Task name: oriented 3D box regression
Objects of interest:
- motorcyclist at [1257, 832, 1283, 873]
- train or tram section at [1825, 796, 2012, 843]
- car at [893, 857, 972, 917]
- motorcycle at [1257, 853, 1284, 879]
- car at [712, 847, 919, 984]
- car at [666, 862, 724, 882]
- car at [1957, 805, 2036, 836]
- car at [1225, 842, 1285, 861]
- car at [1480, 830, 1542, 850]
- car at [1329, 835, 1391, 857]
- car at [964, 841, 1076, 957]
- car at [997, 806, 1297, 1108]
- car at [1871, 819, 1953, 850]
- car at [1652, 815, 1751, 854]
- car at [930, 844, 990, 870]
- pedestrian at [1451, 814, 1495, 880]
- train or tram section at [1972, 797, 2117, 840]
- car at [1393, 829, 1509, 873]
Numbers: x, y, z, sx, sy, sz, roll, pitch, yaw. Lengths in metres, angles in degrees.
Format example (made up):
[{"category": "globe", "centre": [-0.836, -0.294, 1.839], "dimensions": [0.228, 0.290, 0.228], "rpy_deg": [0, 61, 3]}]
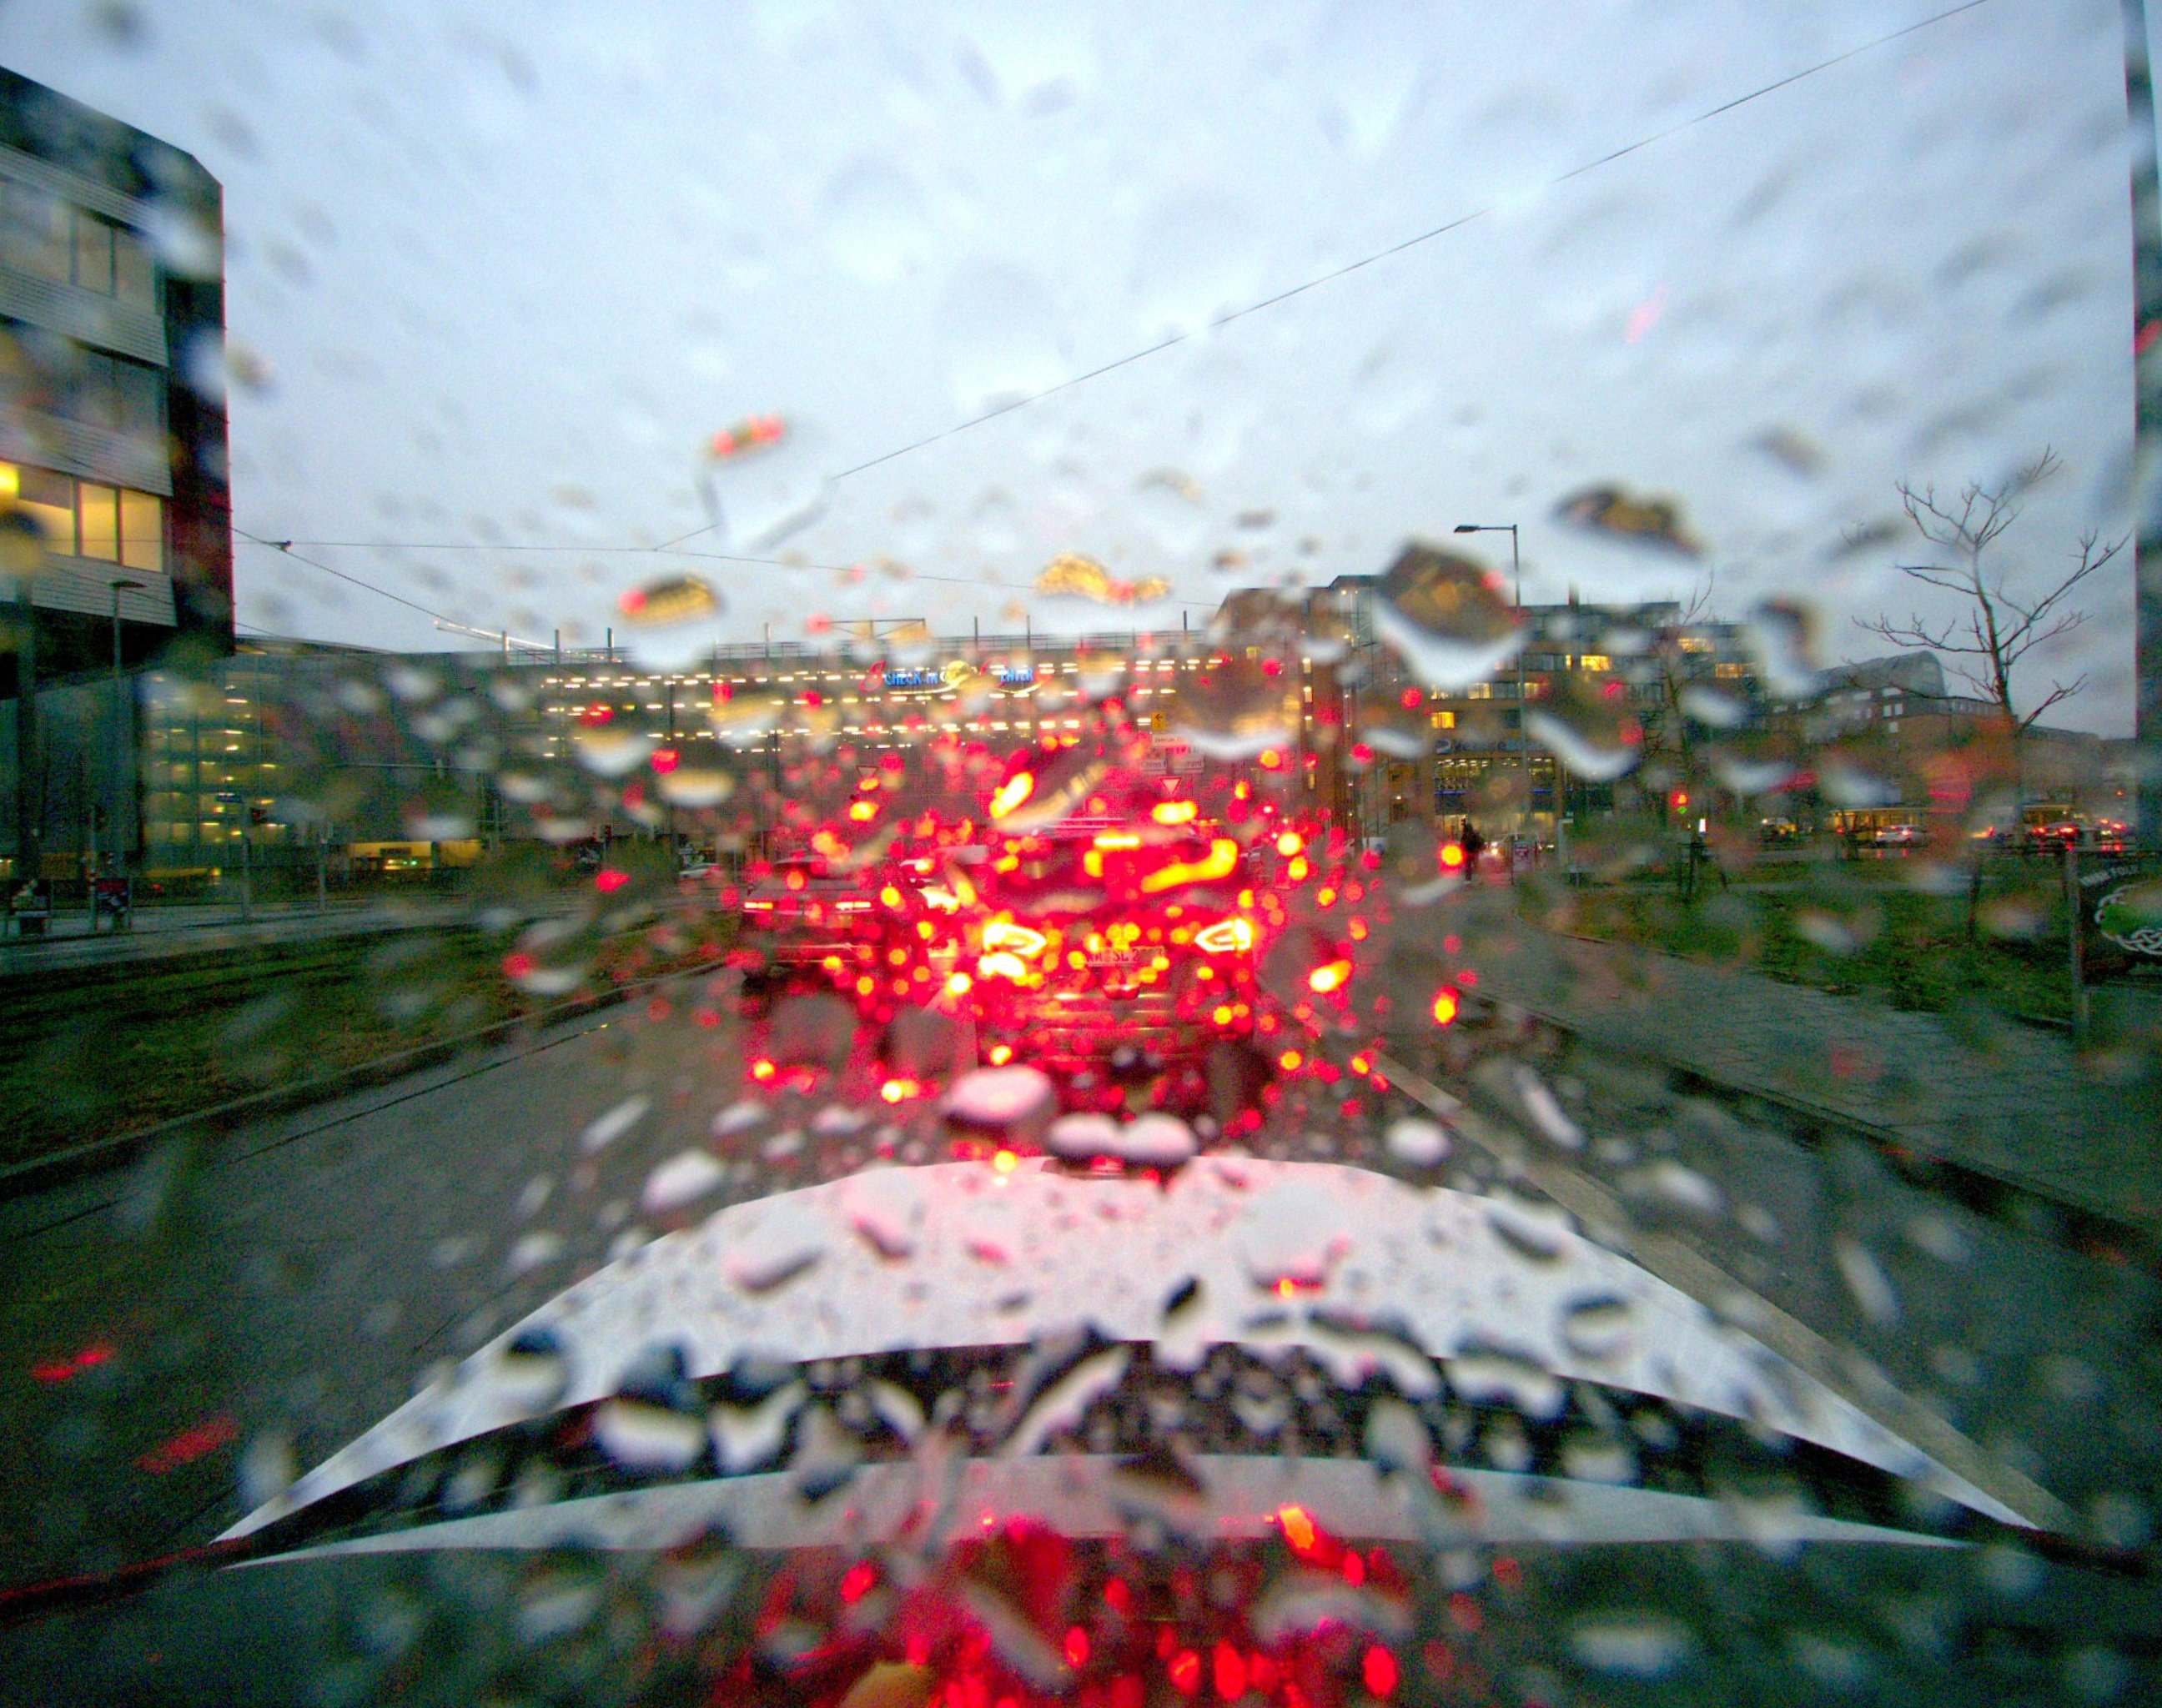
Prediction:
[{"category": "motorcyclist", "centre": [7.331, -0.063, 31.634], "dimensions": [0.863, 1.534, 1.110], "rpy_deg": [-2, 0, 7]}, {"category": "train or tram section", "centre": [67.243, -2.790, 65.274], "dimensions": [16.626, 3.260, 2.326], "rpy_deg": [-2, 0, -14]}, {"category": "car", "centre": [-3.495, 0.720, 19.744], "dimensions": [1.538, 1.251, 4.059], "rpy_deg": [-1, 0, -6]}, {"category": "motorcycle", "centre": [7.341, 0.464, 31.618], "dimensions": [0.848, 0.972, 1.585], "rpy_deg": [-2, 0, 7]}, {"category": "car", "centre": [-3.565, 0.734, 11.724], "dimensions": [1.748, 1.574, 3.997], "rpy_deg": [-2, 0, -2]}, {"category": "car", "centre": [-32.026, 1.499, 67.651], "dimensions": [3.978, 1.618, 1.736], "rpy_deg": [1, 0, -4]}, {"category": "car", "centre": [64.407, -2.315, 57.306], "dimensions": [4.947, 2.013, 1.987], "rpy_deg": [0, 0, -19]}, {"category": "car", "centre": [14.096, -0.192, 66.241], "dimensions": [4.413, 1.390, 1.796], "rpy_deg": [-2, 0, -6]}, {"category": "car", "centre": [36.299, -1.209, 68.808], "dimensions": [4.425, 1.534, 1.796], "rpy_deg": [-2, 0, -6]}, {"category": "car", "centre": [22.813, -0.642, 66.612], "dimensions": [4.413, 1.595, 1.796], "rpy_deg": [-2, 0, -6]}, {"category": "car", "centre": [-0.970, 0.669, 13.864], "dimensions": [1.632, 1.697, 3.667], "rpy_deg": [-1, 0, -3]}, {"category": "car", "centre": [0.375, 0.592, 6.839], "dimensions": [1.730, 1.738, 4.246], "rpy_deg": [1, 0, 0]}, {"category": "car", "centre": [56.605, -1.299, 55.489], "dimensions": [3.985, 2.013, 1.994], "rpy_deg": [0, 0, -9]}, {"category": "car", "centre": [32.838, -1.031, 43.147], "dimensions": [3.987, 1.874, 1.994], "rpy_deg": [-3, 1, -10]}, {"category": "car", "centre": [-10.075, 0.221, 68.029], "dimensions": [4.831, 2.000, 1.797], "rpy_deg": [-2, 0, -5]}, {"category": "pedestrian", "centre": [11.668, -0.221, 24.266], "dimensions": [1.159, 1.924, 0.904], "rpy_deg": [1, 0, 25]}, {"category": "train or tram section", "centre": [81.406, -3.014, 68.744], "dimensions": [12.974, 3.260, 2.326], "rpy_deg": [-2, 0, -14]}, {"category": "car", "centre": [17.323, -0.139, 38.256], "dimensions": [4.664, 1.851, 1.827], "rpy_deg": [-2, -1, -7]}]
